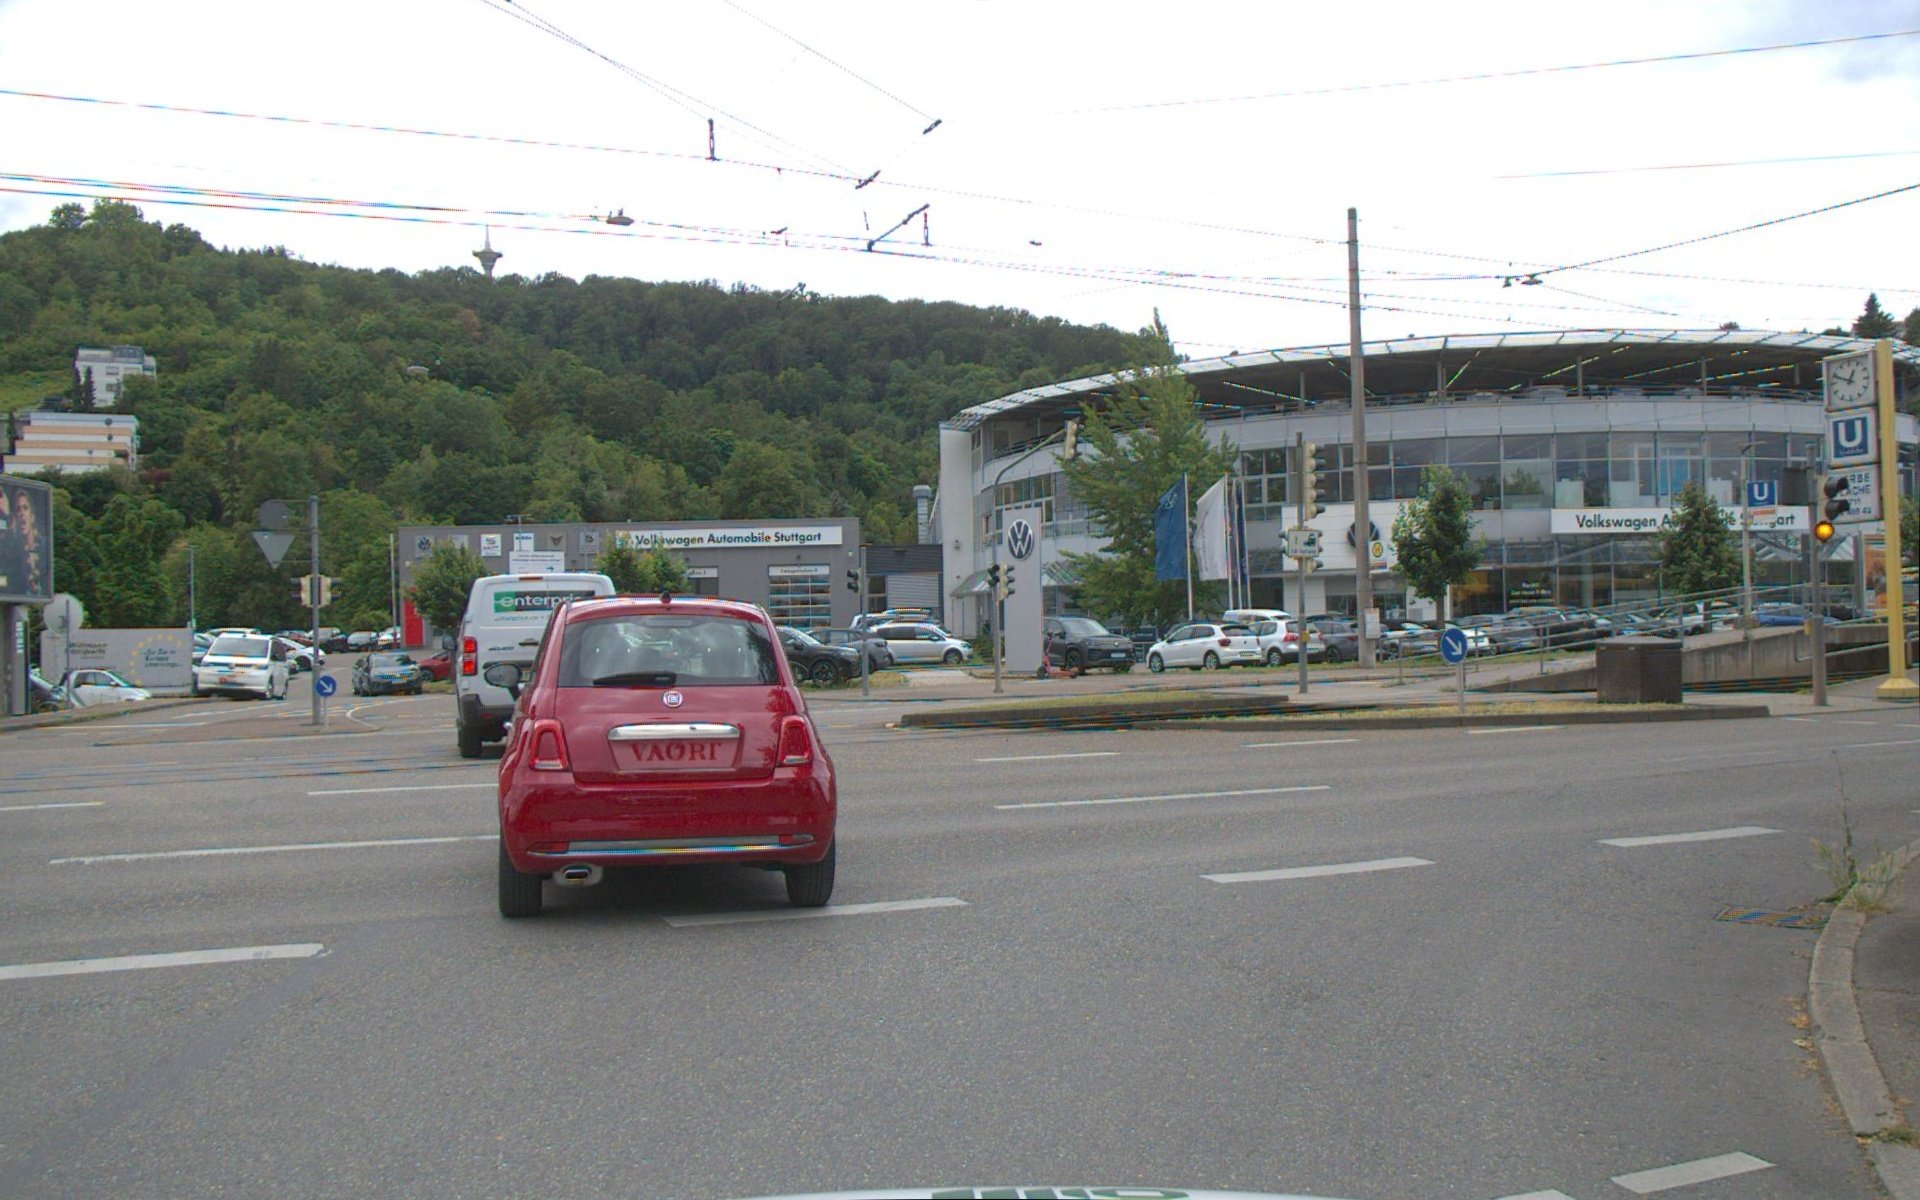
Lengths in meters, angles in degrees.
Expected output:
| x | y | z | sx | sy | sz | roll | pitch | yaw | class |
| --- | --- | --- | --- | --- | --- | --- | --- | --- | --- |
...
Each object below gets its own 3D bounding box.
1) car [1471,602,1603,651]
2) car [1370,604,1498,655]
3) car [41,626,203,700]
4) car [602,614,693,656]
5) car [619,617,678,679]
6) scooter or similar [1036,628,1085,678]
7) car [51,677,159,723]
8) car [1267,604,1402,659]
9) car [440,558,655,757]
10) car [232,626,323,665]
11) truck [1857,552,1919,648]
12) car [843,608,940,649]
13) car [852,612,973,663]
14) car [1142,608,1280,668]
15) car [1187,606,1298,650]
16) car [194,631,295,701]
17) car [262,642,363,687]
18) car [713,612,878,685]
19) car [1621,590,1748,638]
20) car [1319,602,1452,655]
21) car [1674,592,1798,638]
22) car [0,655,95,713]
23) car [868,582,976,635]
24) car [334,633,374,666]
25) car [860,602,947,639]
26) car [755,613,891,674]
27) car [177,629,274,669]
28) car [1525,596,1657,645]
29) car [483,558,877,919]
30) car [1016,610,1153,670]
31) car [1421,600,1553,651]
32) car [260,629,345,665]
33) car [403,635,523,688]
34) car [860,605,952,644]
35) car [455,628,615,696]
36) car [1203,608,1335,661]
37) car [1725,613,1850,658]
| x | y | z | sx | sy | sz | roll | pitch | yaw | class |
| --- | --- | --- | --- | --- | --- | --- | --- | --- | --- |
| 19.825 | 0.935 | 56.985 | 1.904 | 1.581 | 3.953 | -2 | -1 | -33 | car |
| 15.732 | 0.997 | 55.016 | 1.708 | 1.581 | 3.953 | 4 | -3 | -33 | car |
| -27.710 | 2.117 | 54.761 | 4.460 | 2.282 | 1.974 | 4 | -4 | -36 | car |
| -14.593 | 1.646 | 77.435 | 3.908 | 1.825 | 1.851 | 2 | -3 | -4 | car |
| -11.274 | 1.774 | 60.138 | 1.957 | 2.049 | 5.005 | -2 | -3 | -10 | car |
| 2.731 | 1.457 | 44.962 | 1.179 | 1.311 | 0.574 | 2 | -3 | -12 | scooter or similar |
| -26.752 | 3.134 | 51.812 | 2.763 | 1.362 | 1.526 | 3 | -3 | -21 | car |
| 11.759 | 1.018 | 52.096 | 1.904 | 1.581 | 3.953 | 4 | -3 | -33 | car |
| -5.072 | 0.762 | 19.850 | 1.969 | 2.077 | 4.802 | 2 | -4 | -20 | car |
| -38.893 | 2.601 | 94.378 | 4.418 | 2.032 | 1.993 | 2 | -3 | -14 | car |
| 34.761 | -0.035 | 56.627 | 8.876 | 3.132 | 2.678 | -1 | -1 | -28 | truck |
| -3.251 | 1.377 | 78.411 | 4.411 | 1.759 | 1.996 | 2 | -3 | -8 | car |
| -1.848 | 1.469 | 63.467 | 4.411 | 1.759 | 1.996 | 2 | -3 | -8 | car |
| 7.540 | 1.160 | 49.923 | 1.975 | 1.669 | 3.953 | 4 | -3 | -33 | car |
| 10.975 | 1.098 | 64.485 | 1.911 | 1.581 | 3.938 | 4 | -4 | -42 | car |
| -20.858 | 1.929 | 48.397 | 2.043 | 1.886 | 4.884 | 2 | -3 | -16 | car |
| -31.416 | 3.141 | 80.376 | 4.429 | 2.032 | 1.988 | 3 | -3 | -20 | car |
| -4.247 | 1.240 | 43.100 | 3.902 | 1.668 | 2.002 | 1 | 2 | 7 | car |
| 26.479 | 0.531 | 60.580 | 1.897 | 1.581 | 3.968 | -2 | -1 | -25 | car |
| 13.739 | 0.951 | 53.565 | 1.904 | 1.581 | 3.953 | 4 | -3 | -33 | car |
| 29.119 | 0.595 | 62.166 | 1.897 | 1.581 | 3.968 | 3 | -3 | -25 | car |
| -26.346 | 2.347 | 46.412 | 3.527 | 1.512 | 1.584 | -1 | -1 | -34 | car |
| -1.633 | 0.390 | 70.573 | 4.410 | 2.032 | 1.996 | 2 | -3 | -7 | car |
| -40.142 | 3.315 | 109.643 | 1.961 | 2.032 | 4.491 | 2 | -3 | -15 | car |
| -3.023 | 1.108 | 88.028 | 4.411 | 1.759 | 1.996 | 2 | -3 | -8 | car |
| -4.317 | 1.396 | 51.874 | 3.922 | 1.736 | 1.991 | 2 | -3 | -16 | car |
| -39.846 | 2.685 | 89.810 | 4.418 | 2.032 | 1.993 | 2 | -3 | -14 | car |
| 22.045 | 0.732 | 57.912 | 1.904 | 1.581 | 3.953 | -2 | 0 | -33 | car |
| -1.654 | 0.664 | 9.277 | 1.668 | 1.552 | 3.986 | 2 | -2 | -13 | car |
| 3.547 | 1.161 | 47.790 | 1.976 | 1.669 | 3.953 | 0 | -2 | -33 | car |
| 17.796 | 0.893 | 55.971 | 1.904 | 1.581 | 3.953 | 4 | -3 | -33 | car |
| -39.791 | 2.859 | 100.165 | 4.418 | 2.032 | 1.993 | 2 | -3 | -14 | car |
| -20.653 | 2.570 | 68.920 | 4.410 | 2.032 | 1.996 | 2 | -3 | -7 | car |
| -2.725 | 1.236 | 82.851 | 4.411 | 1.759 | 1.996 | 2 | -3 | -8 | car |
| -14.482 | 2.120 | 56.506 | 4.901 | 2.049 | 1.999 | -2 | -3 | -2 | car |
| 9.500 | 1.098 | 51.133 | 1.792 | 1.503 | 3.953 | 4 | -3 | -33 | car |
| 31.344 | 1.360 | 62.740 | 1.897 | 1.581 | 3.968 | 3 | -3 | -25 | car |
